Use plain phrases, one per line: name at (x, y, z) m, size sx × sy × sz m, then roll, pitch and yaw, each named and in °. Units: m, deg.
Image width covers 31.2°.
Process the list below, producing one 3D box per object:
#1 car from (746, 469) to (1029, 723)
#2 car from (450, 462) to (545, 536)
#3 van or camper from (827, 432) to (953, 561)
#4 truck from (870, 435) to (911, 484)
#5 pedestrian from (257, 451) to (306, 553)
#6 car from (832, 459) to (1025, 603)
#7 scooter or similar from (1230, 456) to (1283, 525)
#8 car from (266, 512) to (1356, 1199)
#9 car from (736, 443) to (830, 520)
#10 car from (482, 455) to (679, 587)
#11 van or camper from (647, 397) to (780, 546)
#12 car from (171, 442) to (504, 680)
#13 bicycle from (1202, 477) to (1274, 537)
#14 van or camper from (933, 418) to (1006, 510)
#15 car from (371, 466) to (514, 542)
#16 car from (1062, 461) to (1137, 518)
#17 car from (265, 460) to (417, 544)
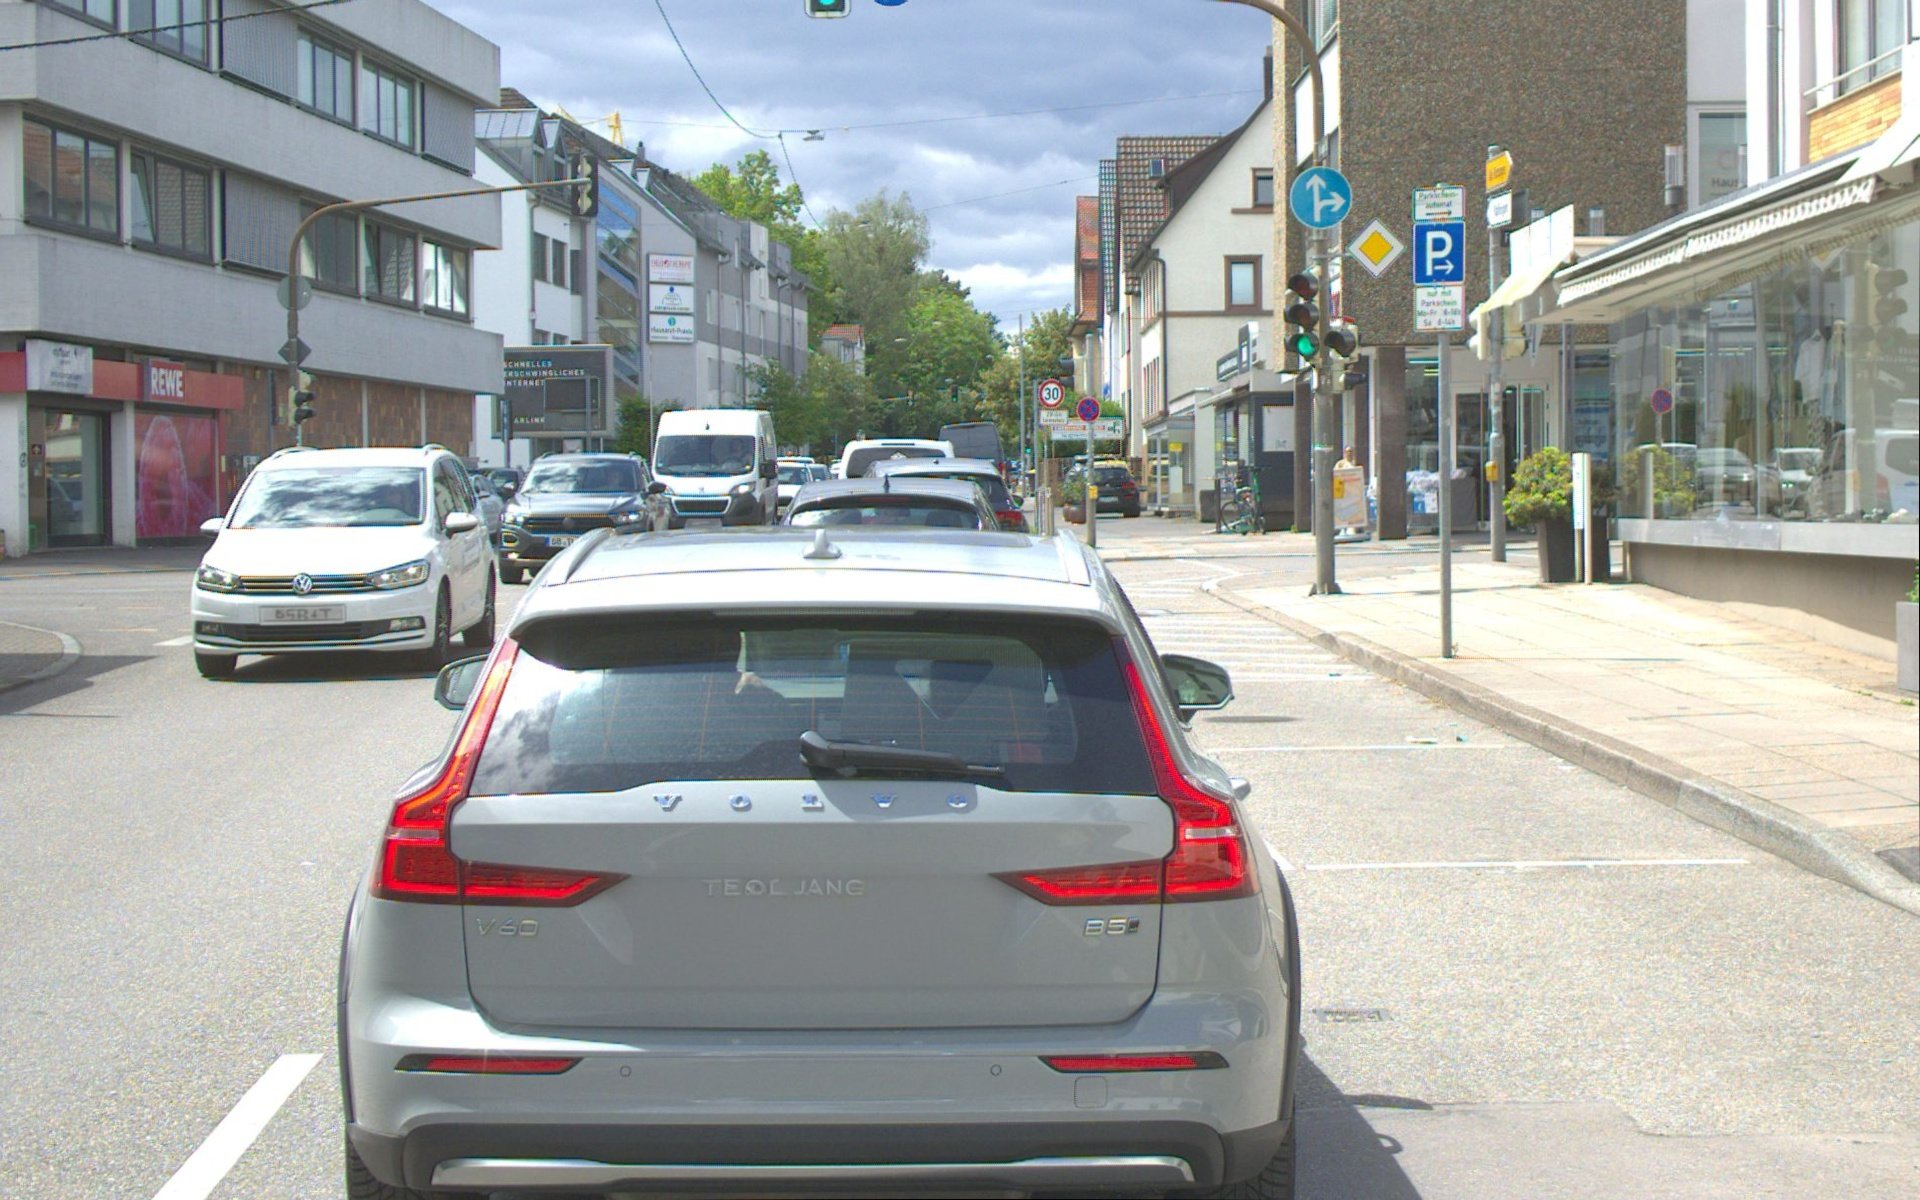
car at (-0.441, -0.076, 21.909) m, size 1.650 × 1.477 × 3.608 m, roll 0°, pitch 2°, yaw -1°
car at (-10.036, -2.218, 74.775) m, size 1.607 × 1.537 × 2.944 m, roll 1°, pitch 2°, yaw 1°
van or camper at (-1.029, -1.523, 51.698) m, size 1.819 × 1.828 × 4.000 m, roll 0°, pitch 0°, yaw -1°
truck at (-4.269, -8.658, 211.775) m, size 2.276 × 2.876 × 7.080 m, roll -1°, pitch 2°, yaw 1°
pedestrian at (-11.084, -1.605, 56.146) m, size 0.619 × 1.635 × 0.660 m, roll -1°, pitch 2°, yaw 1°
car at (-0.316, -0.677, 34.380) m, size 1.807 × 1.342 × 3.718 m, roll -1°, pitch 1°, yaw 0°
scooter or similar at (5.537, -2.044, 64.185) m, size 0.340 × 1.249 × 1.246 m, roll -4°, pitch 2°, yaw -26°
car at (-0.271, 0.555, 7.814) m, size 1.836 × 1.481 × 4.000 m, roll 0°, pitch 1°, yaw -1°
car at (-3.963, -2.694, 77.521) m, size 1.780 × 1.634 × 4.221 m, roll -2°, pitch 2°, yaw 1°
car at (-4.522, -0.937, 41.456) m, size 1.791 × 1.506 × 3.845 m, roll -1°, pitch 1°, yaw 2°
van or camper at (-4.437, -2.382, 62.569) m, size 2.148 × 2.547 × 5.439 m, roll -1°, pitch 3°, yaw -2°
car at (-4.650, -0.368, 26.241) m, size 1.775 × 1.607 × 4.120 m, roll -2°, pitch 3°, yaw 0°
bicycle at (5.433, -1.836, 67.315) m, size 0.554 × 1.140 × 2.301 m, roll -2°, pitch 2°, yaw -18°
van or camper at (0.318, -4.112, 103.892) m, size 2.123 × 2.677 × 4.781 m, roll -1°, pitch 2°, yaw 1°
car at (-10.327, -1.953, 68.883) m, size 1.904 × 1.438 × 4.443 m, roll 1°, pitch 2°, yaw 4°
car at (3.727, -2.950, 92.217) m, size 1.710 × 1.459 × 4.000 m, roll 0°, pitch 1°, yaw -2°
car at (-11.303, -1.807, 63.012) m, size 1.785 × 1.459 × 4.086 m, roll 1°, pitch 2°, yaw 4°
